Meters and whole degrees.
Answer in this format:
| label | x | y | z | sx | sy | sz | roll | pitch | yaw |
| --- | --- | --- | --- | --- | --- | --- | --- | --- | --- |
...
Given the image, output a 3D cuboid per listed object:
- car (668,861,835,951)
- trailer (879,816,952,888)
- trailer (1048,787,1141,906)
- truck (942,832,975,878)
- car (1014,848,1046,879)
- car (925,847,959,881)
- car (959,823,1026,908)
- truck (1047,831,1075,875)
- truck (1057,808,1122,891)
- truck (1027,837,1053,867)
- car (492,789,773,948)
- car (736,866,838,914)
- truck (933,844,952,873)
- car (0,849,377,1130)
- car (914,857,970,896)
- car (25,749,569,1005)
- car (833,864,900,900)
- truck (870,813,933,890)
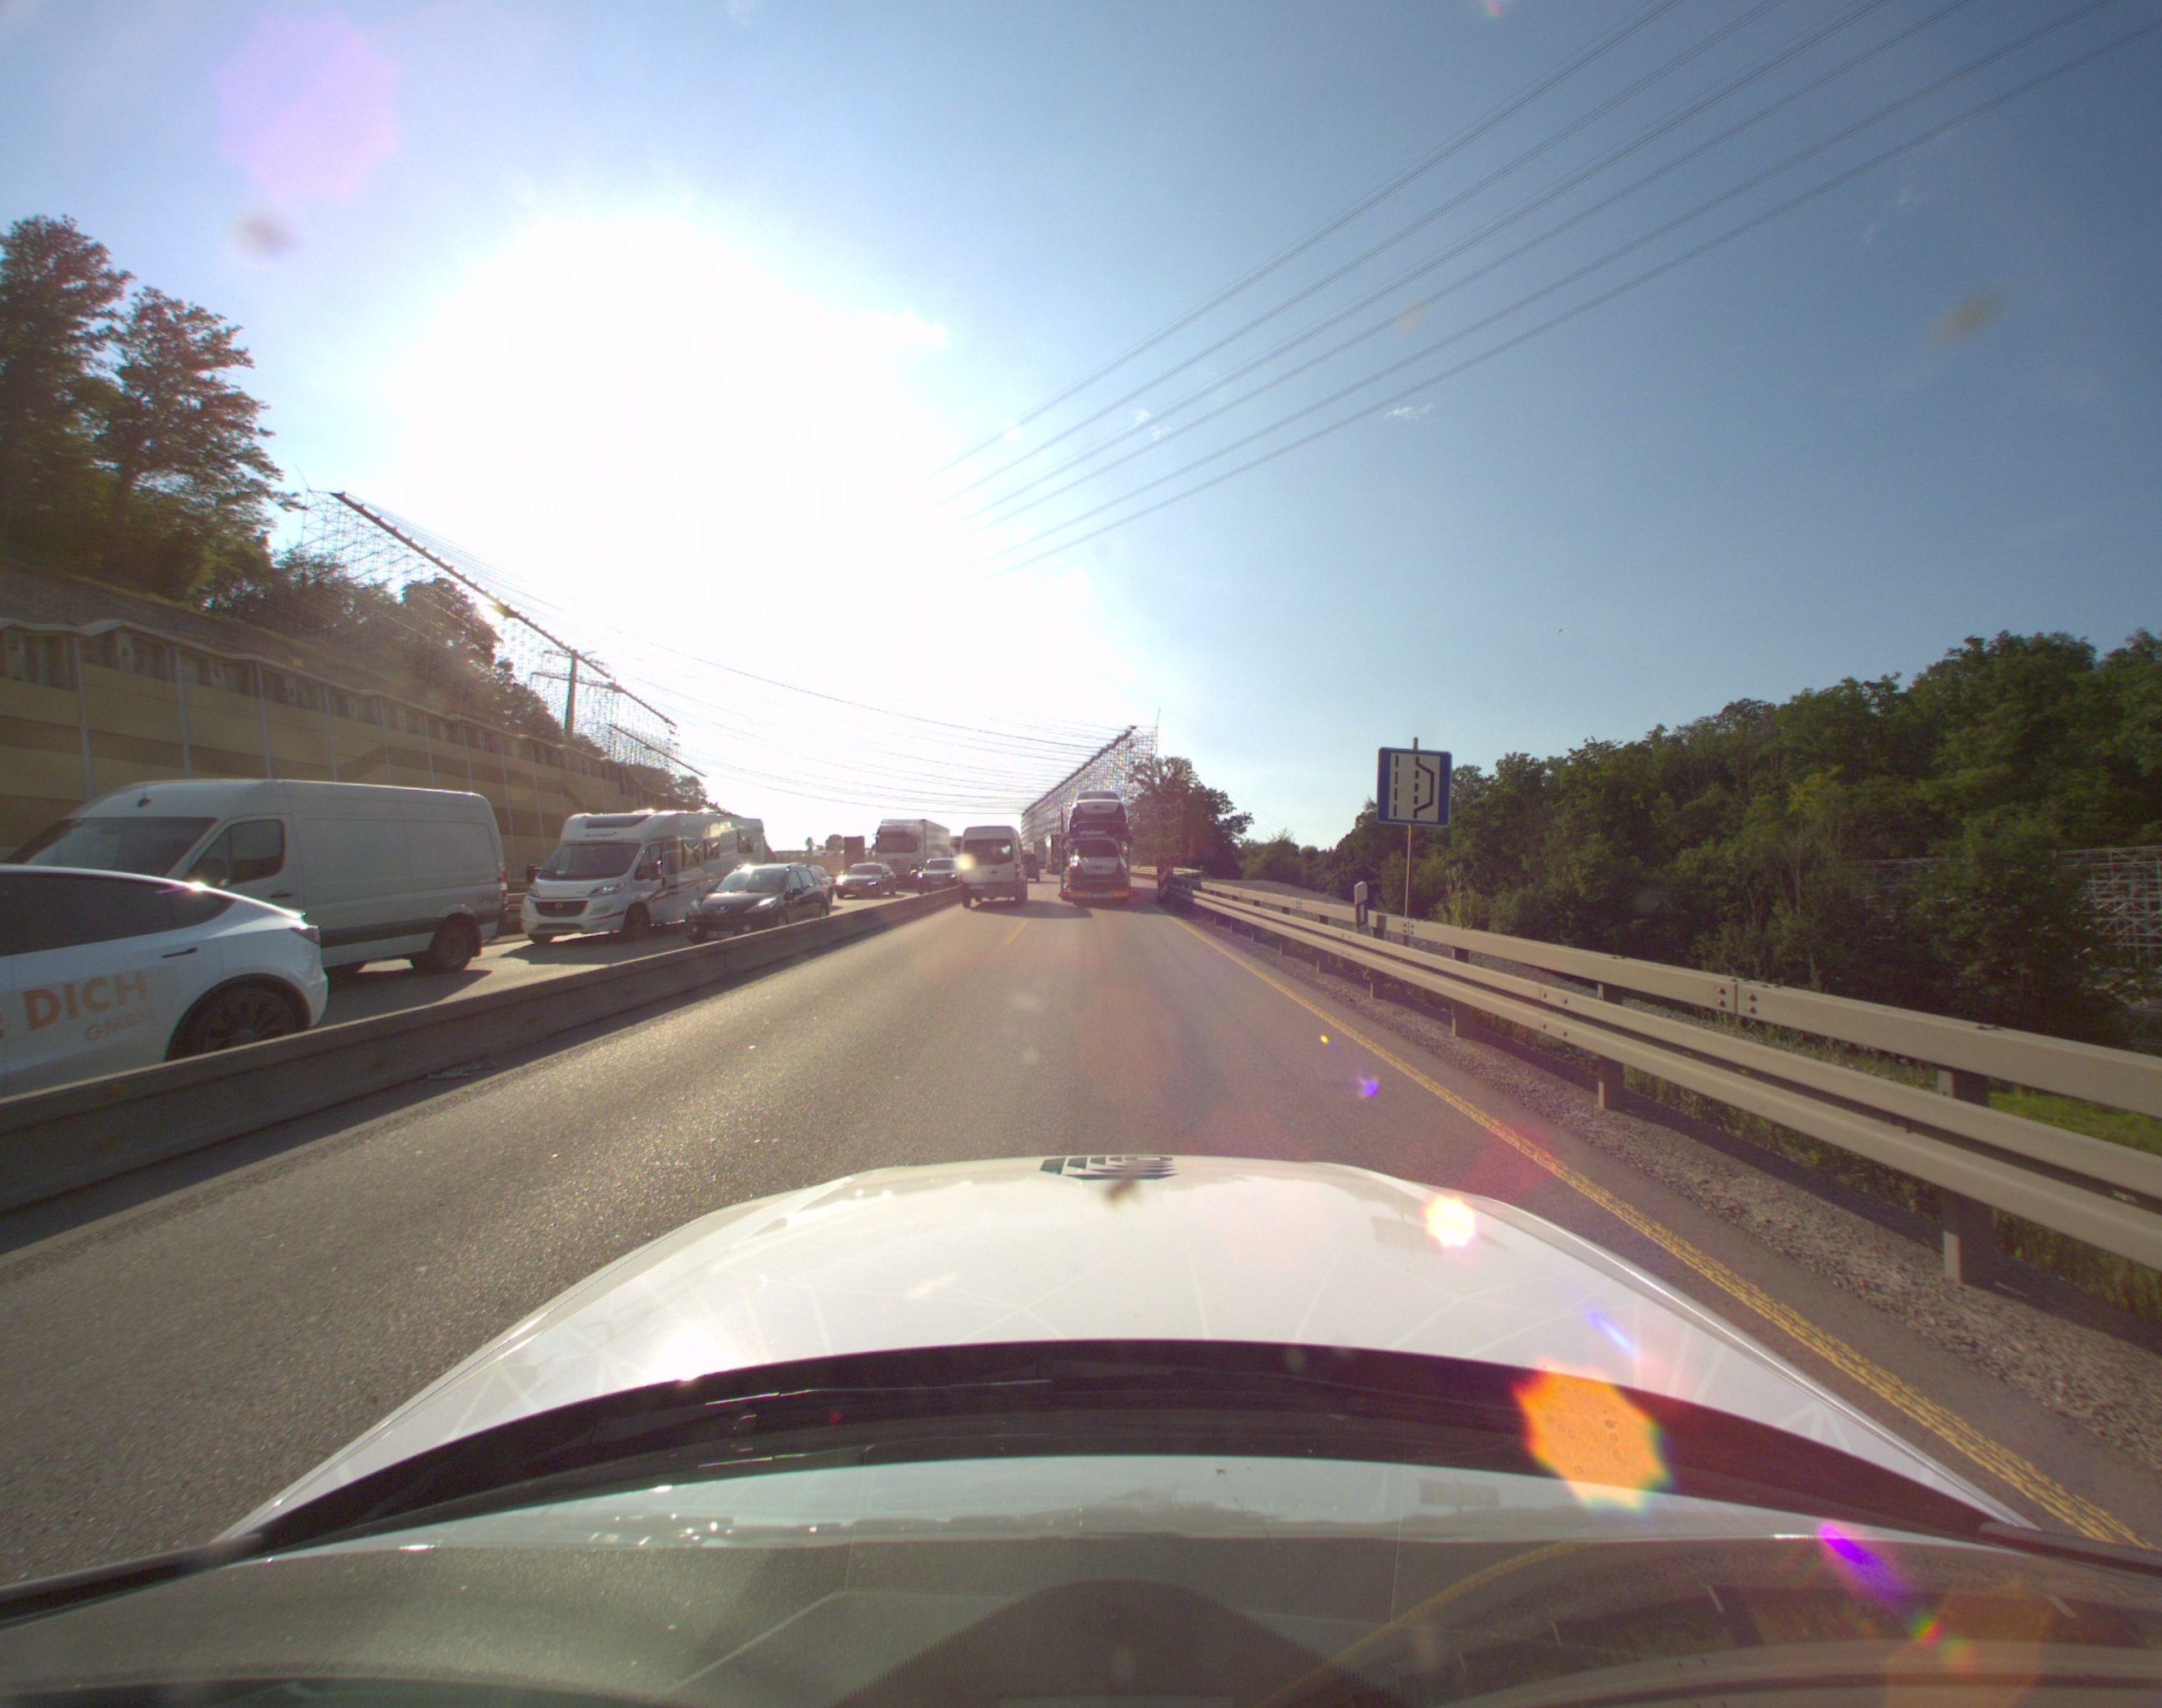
| label | x | y | z | sx | sy | sz | roll | pitch | yaw |
| --- | --- | --- | --- | --- | --- | --- | --- | --- | --- |
| car | -6.484 | 0.948 | 16.531 | 1.776 | 1.521 | 3.999 | 1 | 1 | -1 |
| trailer | -10.785 | -0.041 | 54.582 | 2.715 | 4.218 | 13.731 | -1 | -1 | -3 |
| trailer | 0.393 | -0.161 | 33.170 | 2.860 | 3.725 | 14.942 | -1 | -1 | 0 |
| truck | -12.026 | 0.115 | 80.386 | 2.741 | 4.300 | 5.923 | -1 | -1 | -5 |
| car | -3.569 | 0.667 | 56.589 | 1.991 | 2.014 | 3.990 | 0 | -1 | -7 |
| car | -11.482 | 0.788 | 67.757 | 2.017 | 2.690 | 6.942 | 0 | 0 | -3 |
| car | -2.907 | 0.381 | 27.563 | 1.952 | 2.621 | 3.995 | -2 | -1 | -3 |
| truck | -2.099 | -0.081 | 85.729 | 2.725 | 4.386 | 11.513 | 0 | 0 | -2 |
| truck | 0.382 | -0.171 | 40.502 | 2.873 | 3.702 | 7.323 | -1 | -1 | 0 |
| truck | -6.646 | -0.329 | 130.043 | 3.680 | 4.220 | 13.648 | -4 | 0 | -4 |
| car | -9.857 | 0.328 | 19.093 | 2.327 | 2.918 | 7.630 | -2 | -1 | 0 |
| car | -9.600 | 1.122 | 27.014 | 1.743 | 1.422 | 4.608 | 0 | -1 | -1 |
| truck | -21.365 | 0.689 | 125.242 | 2.664 | 4.230 | 6.080 | -1 | 0 | -11 |
| car | -6.791 | 0.791 | 4.242 | 2.052 | 1.486 | 4.725 | -4 | 1 | 0 |
| car | -6.540 | 1.027 | 38.817 | 1.812 | 1.579 | 4.754 | -3 | 1 | 0 |
| car | -10.038 | 0.280 | 11.417 | 1.949 | 2.621 | 5.749 | -2 | -1 | 1 |
| car | -9.341 | 1.180 | 35.774 | 1.738 | 1.460 | 4.711 | -1 | -1 | -1 |
| truck | -10.427 | -0.115 | 47.868 | 2.707 | 4.218 | 5.675 | -1 | -1 | -3 |
